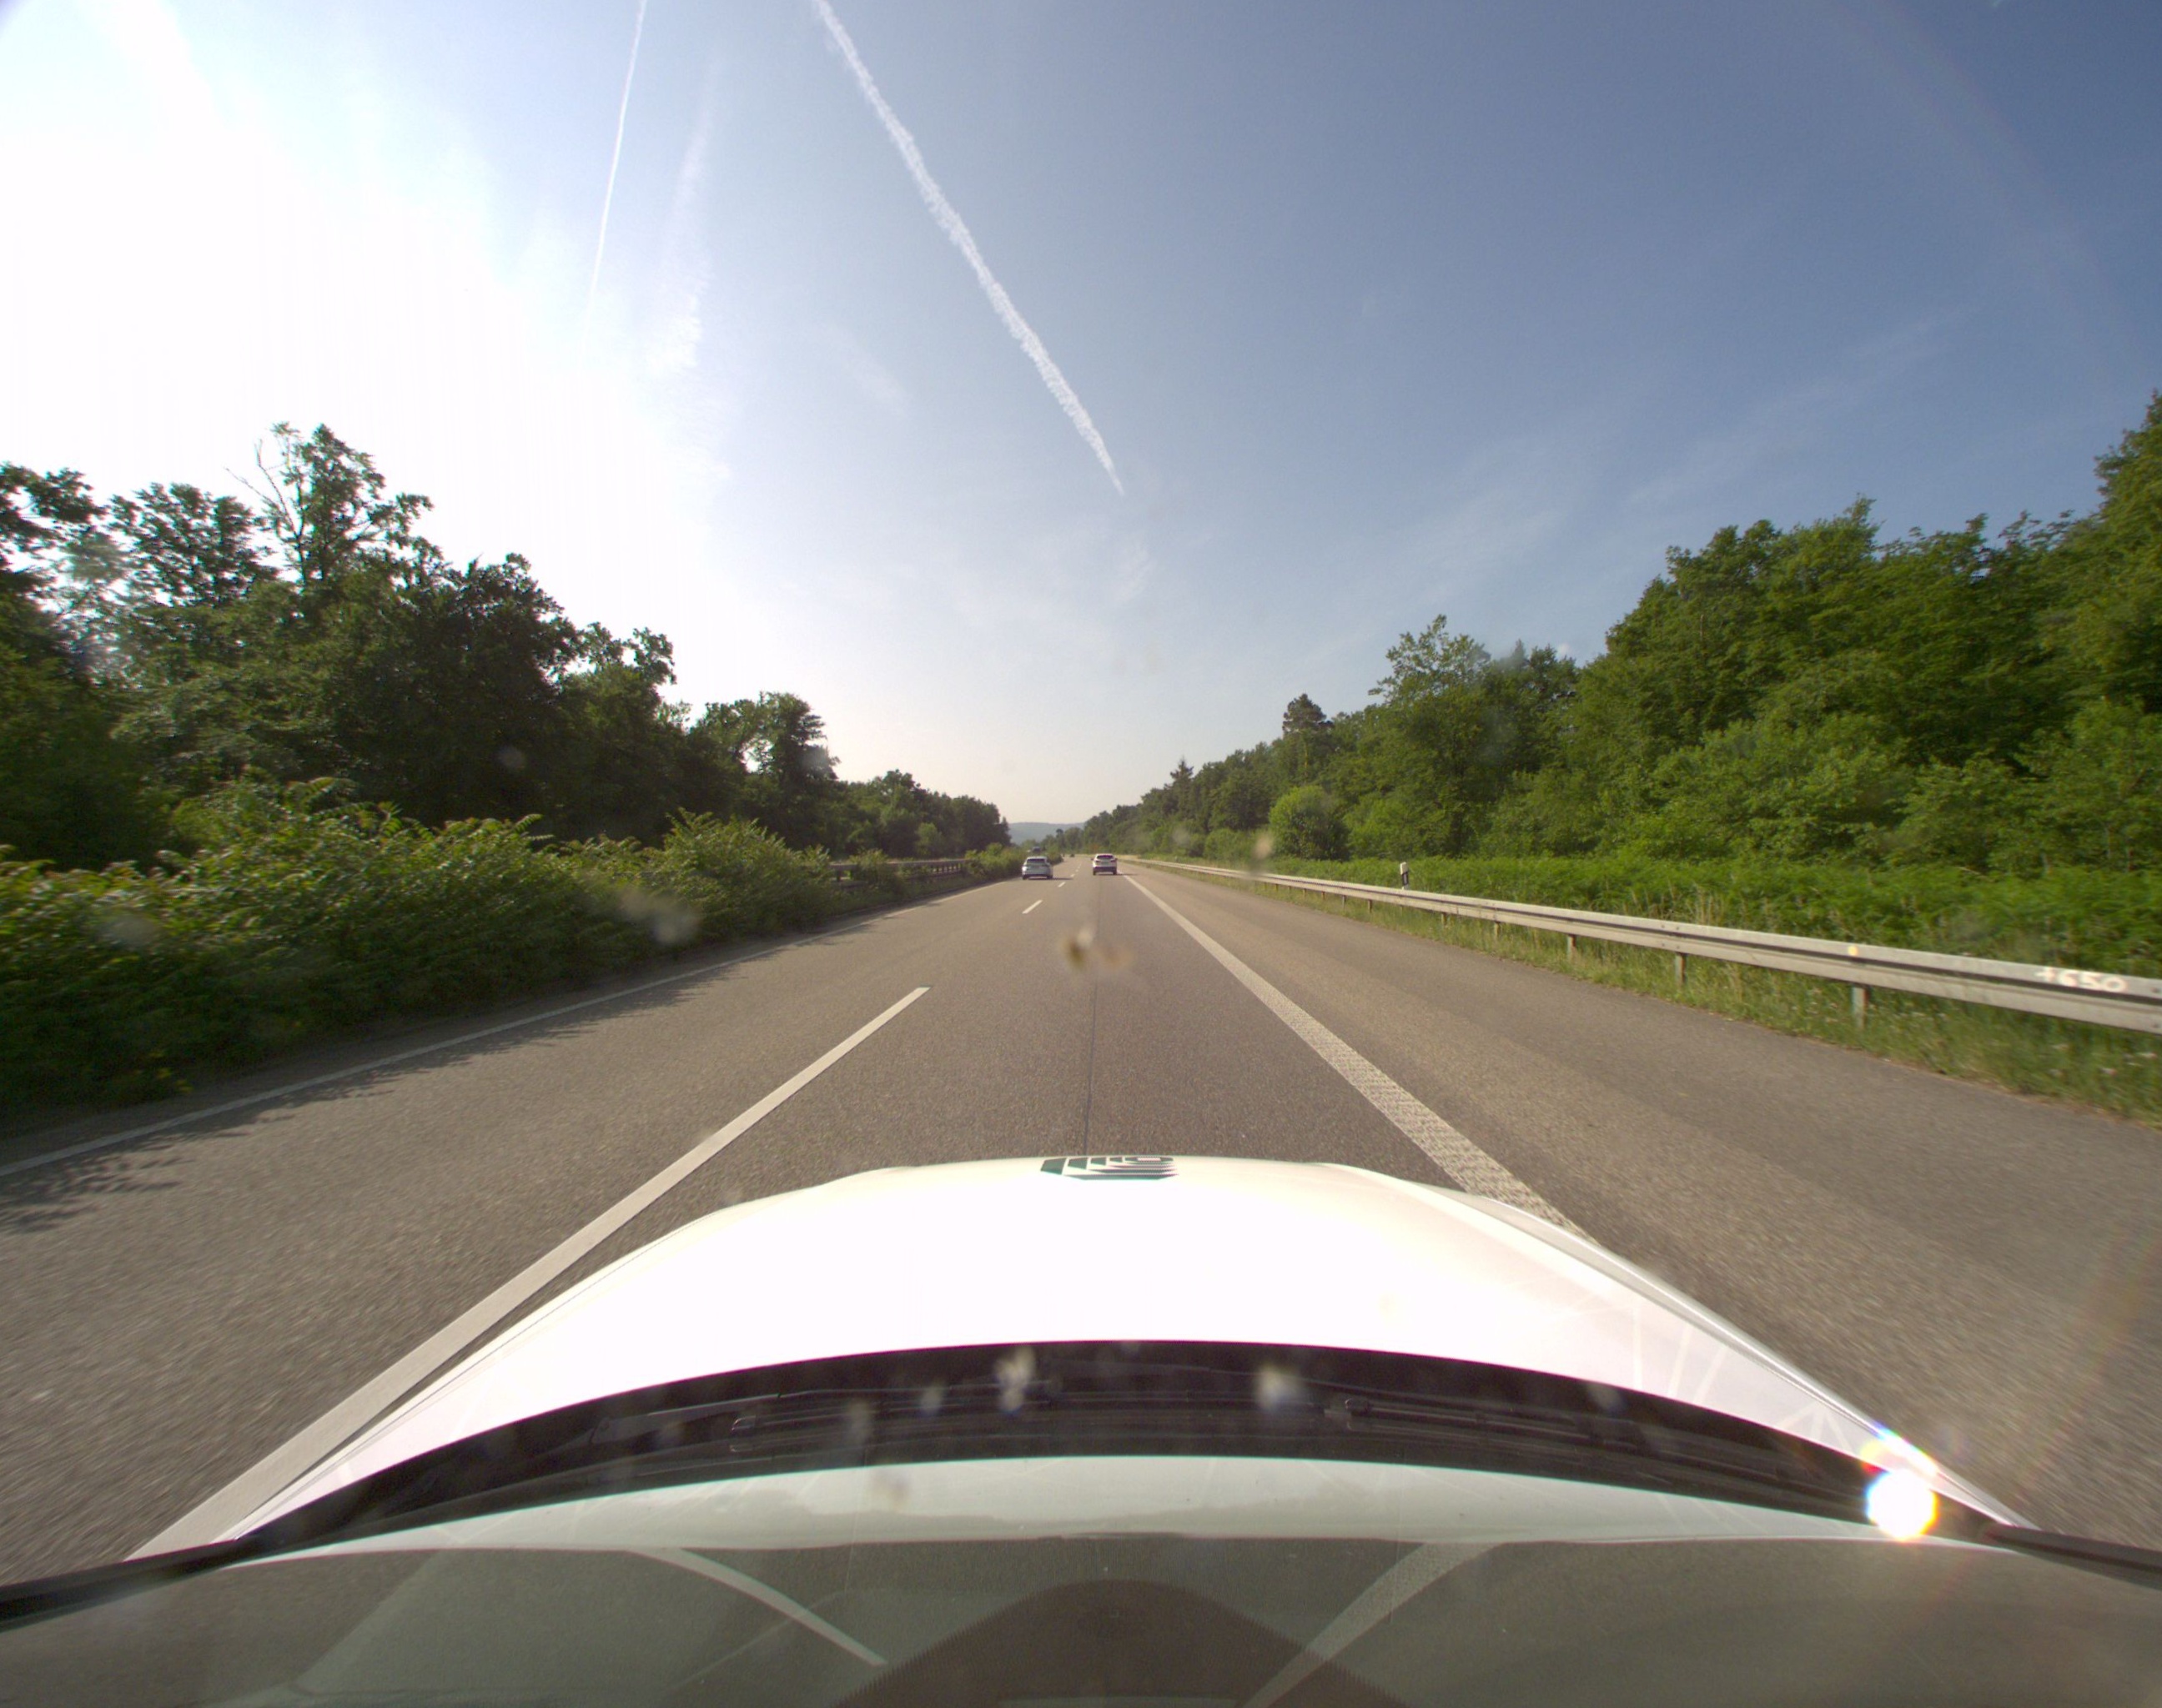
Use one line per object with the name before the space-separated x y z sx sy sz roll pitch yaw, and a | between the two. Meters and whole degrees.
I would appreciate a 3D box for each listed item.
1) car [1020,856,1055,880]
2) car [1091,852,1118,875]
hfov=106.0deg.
car | -2.753 0.851 52.662 1.785 1.438 5.280 -1 0 2
car | 1.735 0.687 61.196 1.867 1.586 3.999 1 0 0
